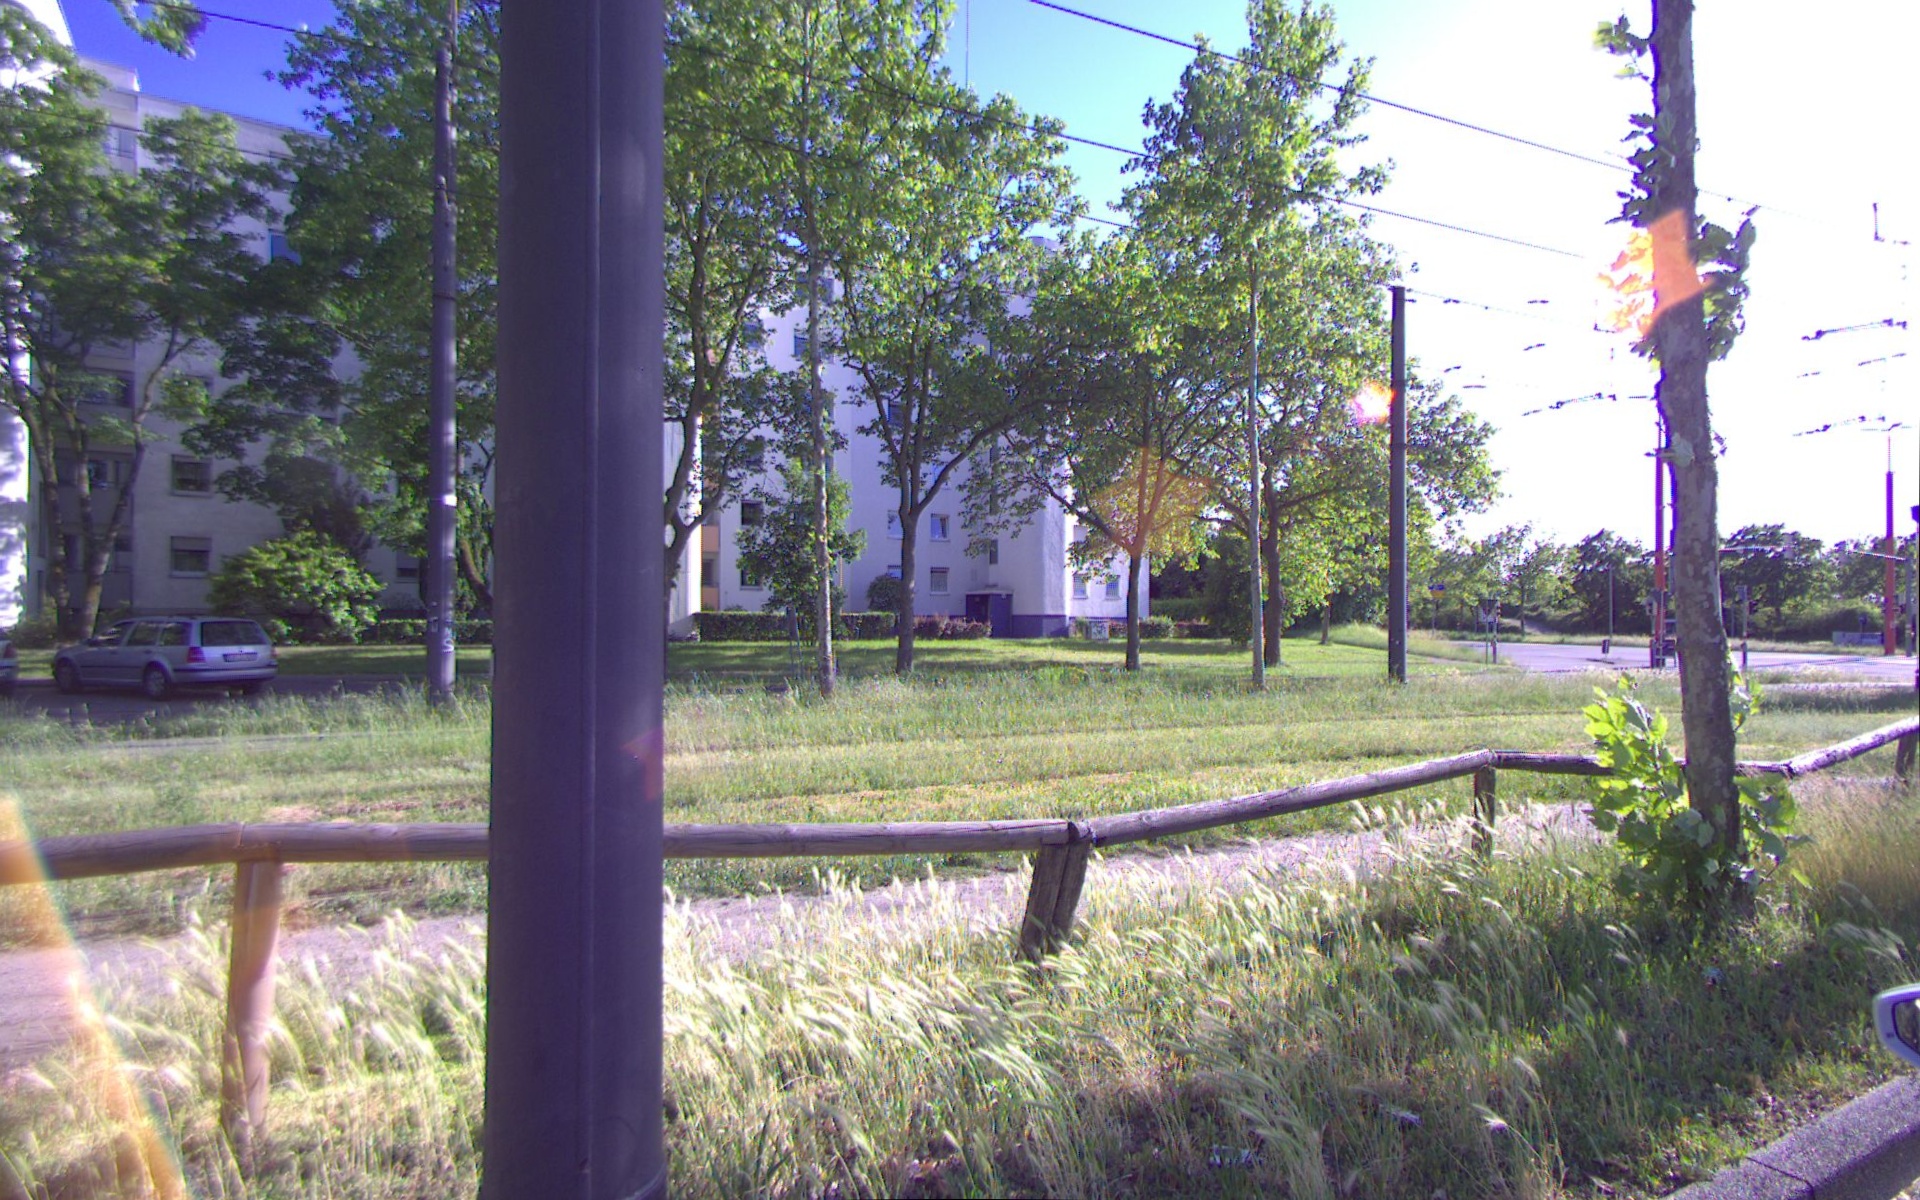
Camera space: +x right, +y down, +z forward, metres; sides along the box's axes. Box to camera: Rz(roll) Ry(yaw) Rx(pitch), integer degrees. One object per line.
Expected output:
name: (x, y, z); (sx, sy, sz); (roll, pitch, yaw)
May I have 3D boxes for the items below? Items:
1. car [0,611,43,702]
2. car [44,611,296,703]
car: (-18.054, 0.936, 17.242); (3.969, 1.506, 1.764); (0, 0, 20)
car: (-14.572, 0.991, 18.557); (3.969, 1.506, 1.815); (0, 0, 20)
